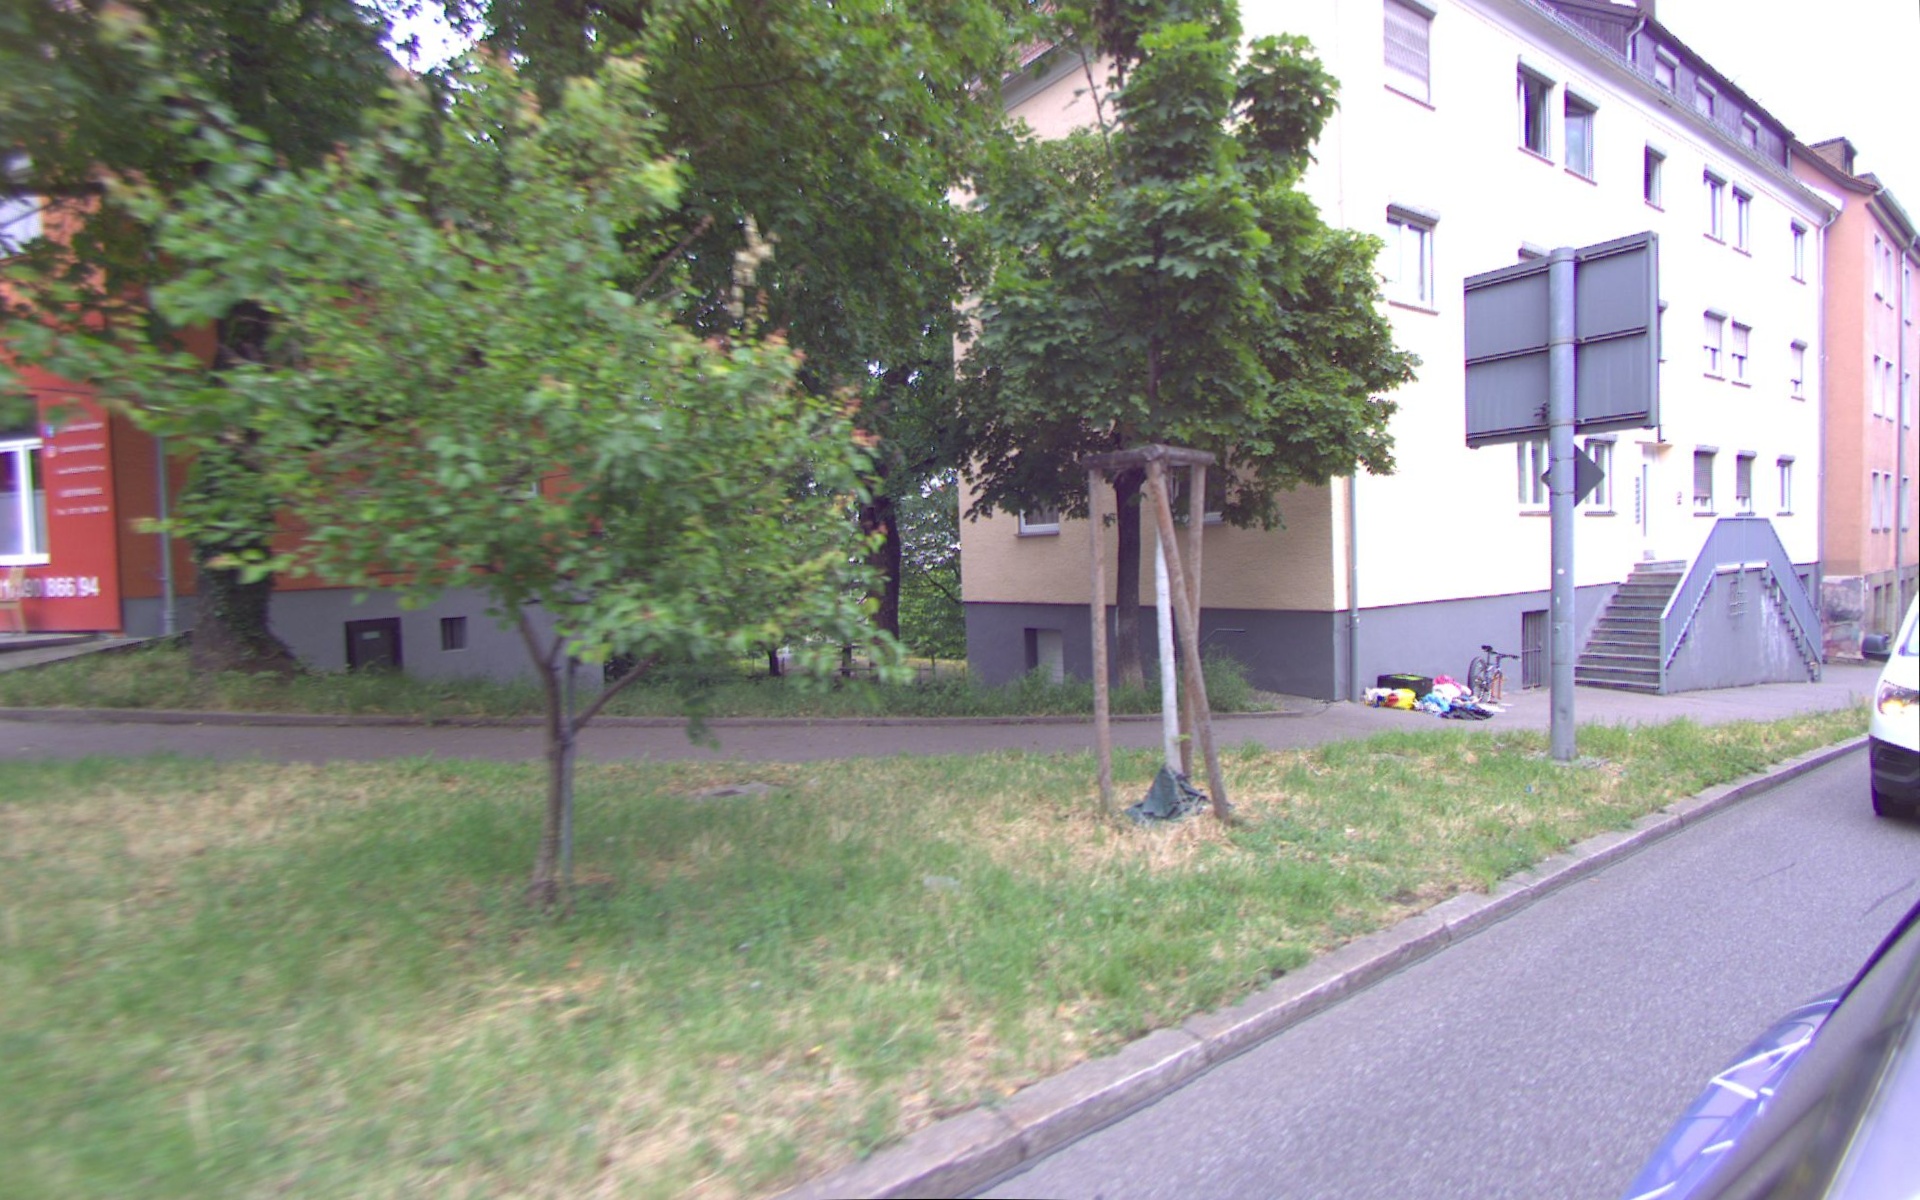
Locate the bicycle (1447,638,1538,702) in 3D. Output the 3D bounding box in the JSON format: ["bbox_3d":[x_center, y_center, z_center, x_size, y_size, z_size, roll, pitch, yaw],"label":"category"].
[{"bbox_3d":[7.297,0.935,13.838,1.529,0.782,0.490,0,1,-37],"label":"bicycle"}]

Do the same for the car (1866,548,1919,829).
[{"bbox_3d":[8.424,0.603,7.616,4.759,1.812,1.787,1,-2,-41],"label":"car"}]
